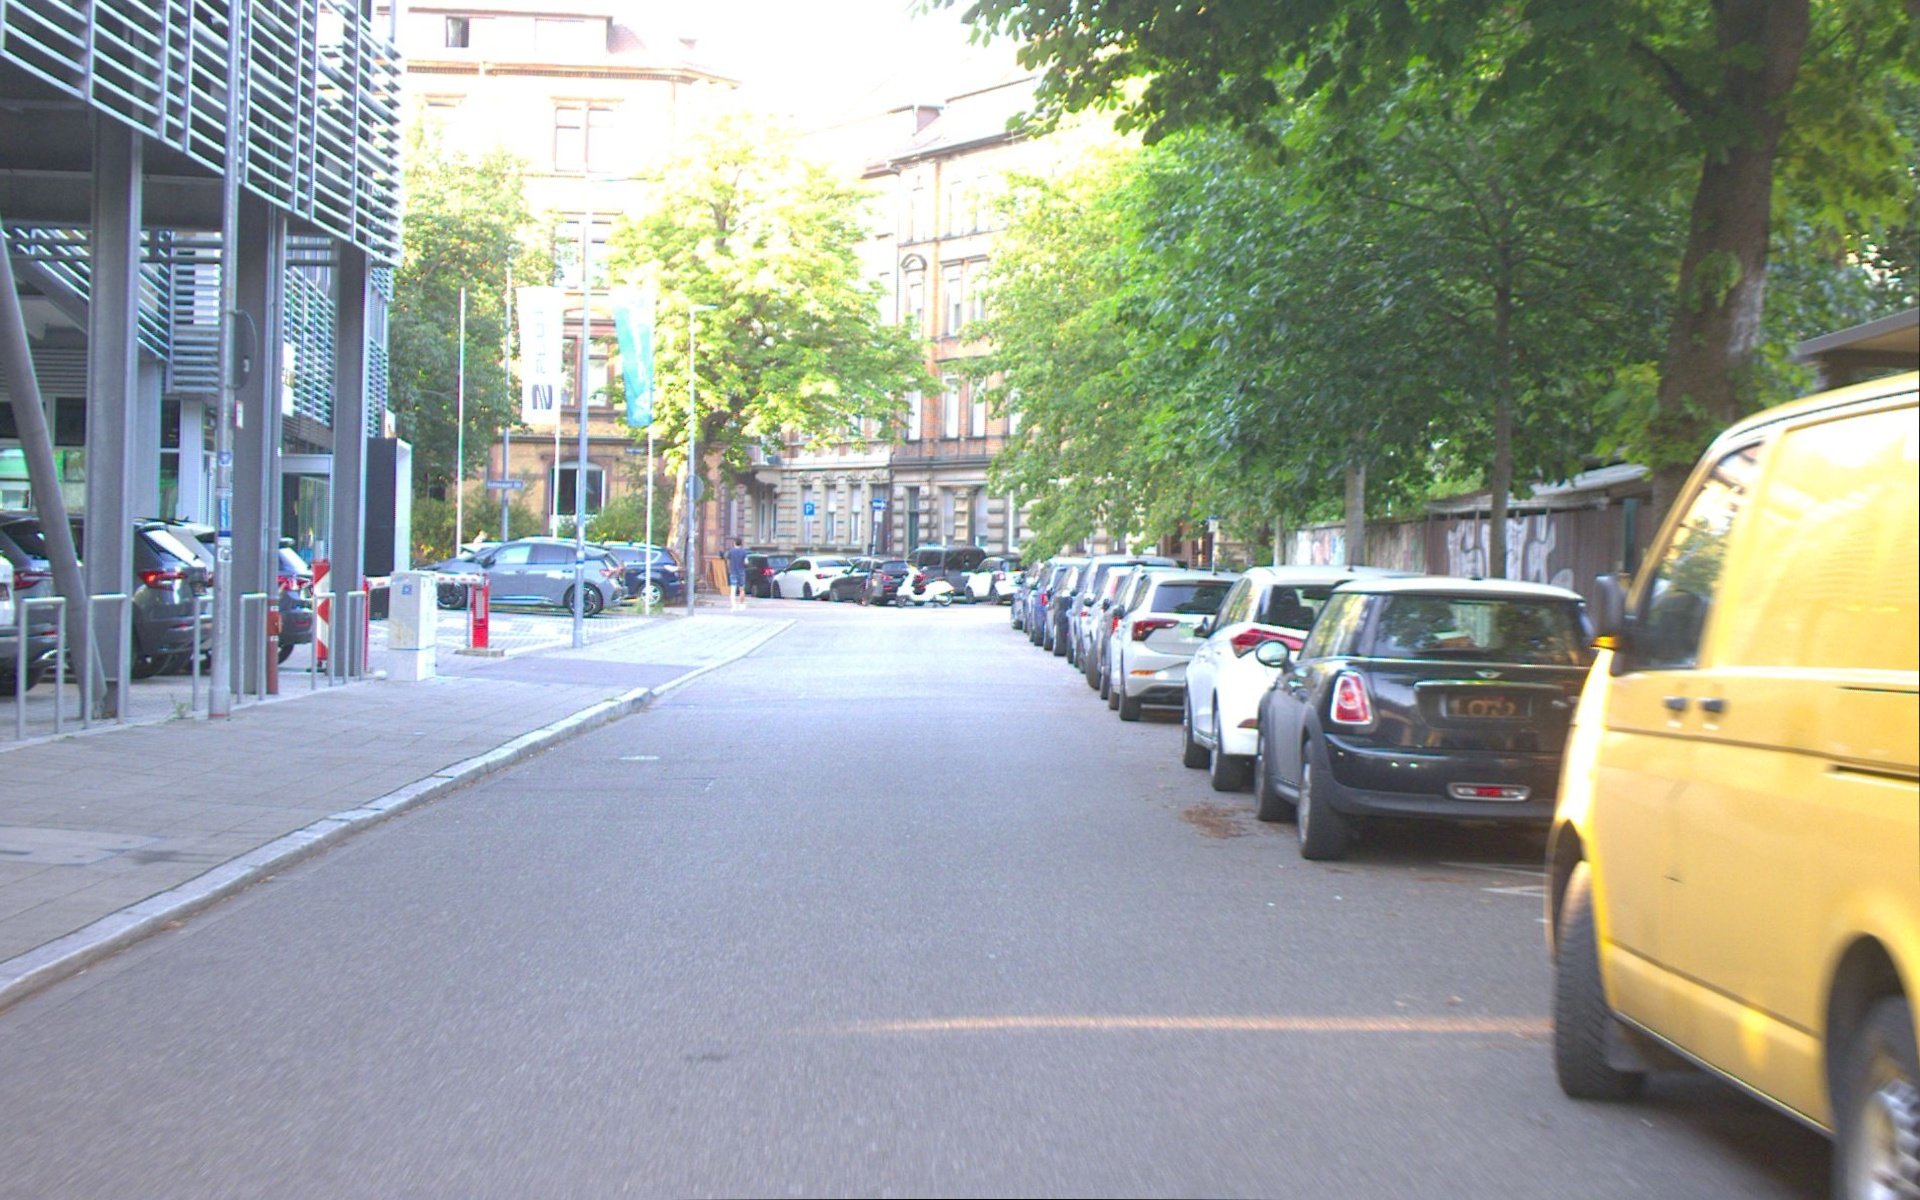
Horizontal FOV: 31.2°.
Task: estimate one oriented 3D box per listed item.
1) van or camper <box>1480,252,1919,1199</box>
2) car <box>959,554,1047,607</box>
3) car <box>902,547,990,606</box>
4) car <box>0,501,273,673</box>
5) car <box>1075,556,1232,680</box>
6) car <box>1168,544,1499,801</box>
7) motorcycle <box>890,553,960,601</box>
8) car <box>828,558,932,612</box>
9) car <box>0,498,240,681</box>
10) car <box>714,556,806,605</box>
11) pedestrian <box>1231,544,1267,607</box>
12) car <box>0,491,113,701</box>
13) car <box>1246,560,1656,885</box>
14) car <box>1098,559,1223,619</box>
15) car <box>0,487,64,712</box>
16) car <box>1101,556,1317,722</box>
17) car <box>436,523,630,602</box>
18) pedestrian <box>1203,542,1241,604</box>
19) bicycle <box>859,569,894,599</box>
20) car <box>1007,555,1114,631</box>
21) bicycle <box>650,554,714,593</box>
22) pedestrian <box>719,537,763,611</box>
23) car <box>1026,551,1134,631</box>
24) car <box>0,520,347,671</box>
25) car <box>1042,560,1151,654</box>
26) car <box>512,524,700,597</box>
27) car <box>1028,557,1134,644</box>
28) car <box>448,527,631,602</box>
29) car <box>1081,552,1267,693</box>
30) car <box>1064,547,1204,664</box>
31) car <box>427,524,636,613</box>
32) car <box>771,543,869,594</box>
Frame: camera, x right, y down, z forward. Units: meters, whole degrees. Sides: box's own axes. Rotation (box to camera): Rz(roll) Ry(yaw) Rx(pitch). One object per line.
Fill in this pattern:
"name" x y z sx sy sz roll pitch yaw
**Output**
"van or camper" 2.677 0.398 7.710 2.064 2.088 5.091 1 2 -2
"car" 1.320 -0.616 107.274 1.674 1.520 2.768 1 1 -25
"car" -0.463 -0.756 110.731 1.674 1.776 3.016 1 1 -24
"car" -9.379 -0.171 35.721 4.079 1.678 1.860 1 2 1
"car" 2.465 0.198 44.642 1.759 1.436 3.874 1 2 -1
"car" 2.440 0.420 23.358 1.722 1.514 4.026 1 2 -1
"motorcycle" -1.005 -0.656 98.898 1.931 1.336 0.577 1 1 -10
"car" -2.399 -0.457 102.181 1.654 1.426 3.991 1 2 -24
"car" -9.230 -0.141 33.292 4.087 1.678 1.860 1 2 1
"car" -6.478 -0.645 111.078 1.654 1.426 3.897 1 2 -24
"pedestrian" 8.352 -0.719 99.433 0.773 1.798 0.843 1 2 -15
"car" -9.321 -0.092 28.583 4.064 1.678 1.860 1 2 1
"car" 2.461 0.560 17.941 1.563 1.445 3.454 1 2 -1
"car" 5.733 -0.327 98.765 1.914 1.520 3.897 1 2 -24
"car" -9.202 -0.061 26.438 4.103 1.678 1.860 1 2 1
"car" 2.385 0.339 33.806 1.759 1.437 4.006 1 2 -1
"car" -9.322 -0.837 75.270 4.066 1.612 1.765 1 2 -2
"pedestrian" 7.751 -0.795 101.680 0.840 1.798 0.776 1 2 -21
"bicycle" -2.344 -0.460 96.786 0.425 0.819 1.460 2 2 21
"car" 2.029 -0.167 70.599 1.695 1.472 4.213 1 1 -5
"bicycle" -7.548 -0.724 93.461 1.671 1.025 0.446 0 2 -24
"pedestrian" -5.412 -0.648 84.911 0.735 1.798 1.122 1 2 -21
"car" 2.276 -0.197 66.191 1.695 1.472 3.560 1 1 -4
"car" -8.989 -0.038 38.350 3.986 1.580 1.860 1 -1 -2
"car" 2.236 0.088 57.009 1.596 1.472 3.774 1 1 -1
"car" -9.352 -1.043 90.824 4.828 1.726 1.921 2 2 -6
"car" 2.138 -0.011 61.736 1.695 1.472 4.117 1 1 -1
"car" -9.682 -0.826 79.347 4.044 1.470 1.921 3 2 -4
"car" 2.349 0.206 38.706 1.759 1.449 4.393 1 1 -1
"car" 2.473 0.053 49.651 1.759 1.598 3.874 1 1 -1
"car" -8.942 -0.677 71.990 4.129 1.612 1.913 3 2 -2
"car" -4.365 -0.990 106.683 1.654 1.426 4.168 1 2 -22
